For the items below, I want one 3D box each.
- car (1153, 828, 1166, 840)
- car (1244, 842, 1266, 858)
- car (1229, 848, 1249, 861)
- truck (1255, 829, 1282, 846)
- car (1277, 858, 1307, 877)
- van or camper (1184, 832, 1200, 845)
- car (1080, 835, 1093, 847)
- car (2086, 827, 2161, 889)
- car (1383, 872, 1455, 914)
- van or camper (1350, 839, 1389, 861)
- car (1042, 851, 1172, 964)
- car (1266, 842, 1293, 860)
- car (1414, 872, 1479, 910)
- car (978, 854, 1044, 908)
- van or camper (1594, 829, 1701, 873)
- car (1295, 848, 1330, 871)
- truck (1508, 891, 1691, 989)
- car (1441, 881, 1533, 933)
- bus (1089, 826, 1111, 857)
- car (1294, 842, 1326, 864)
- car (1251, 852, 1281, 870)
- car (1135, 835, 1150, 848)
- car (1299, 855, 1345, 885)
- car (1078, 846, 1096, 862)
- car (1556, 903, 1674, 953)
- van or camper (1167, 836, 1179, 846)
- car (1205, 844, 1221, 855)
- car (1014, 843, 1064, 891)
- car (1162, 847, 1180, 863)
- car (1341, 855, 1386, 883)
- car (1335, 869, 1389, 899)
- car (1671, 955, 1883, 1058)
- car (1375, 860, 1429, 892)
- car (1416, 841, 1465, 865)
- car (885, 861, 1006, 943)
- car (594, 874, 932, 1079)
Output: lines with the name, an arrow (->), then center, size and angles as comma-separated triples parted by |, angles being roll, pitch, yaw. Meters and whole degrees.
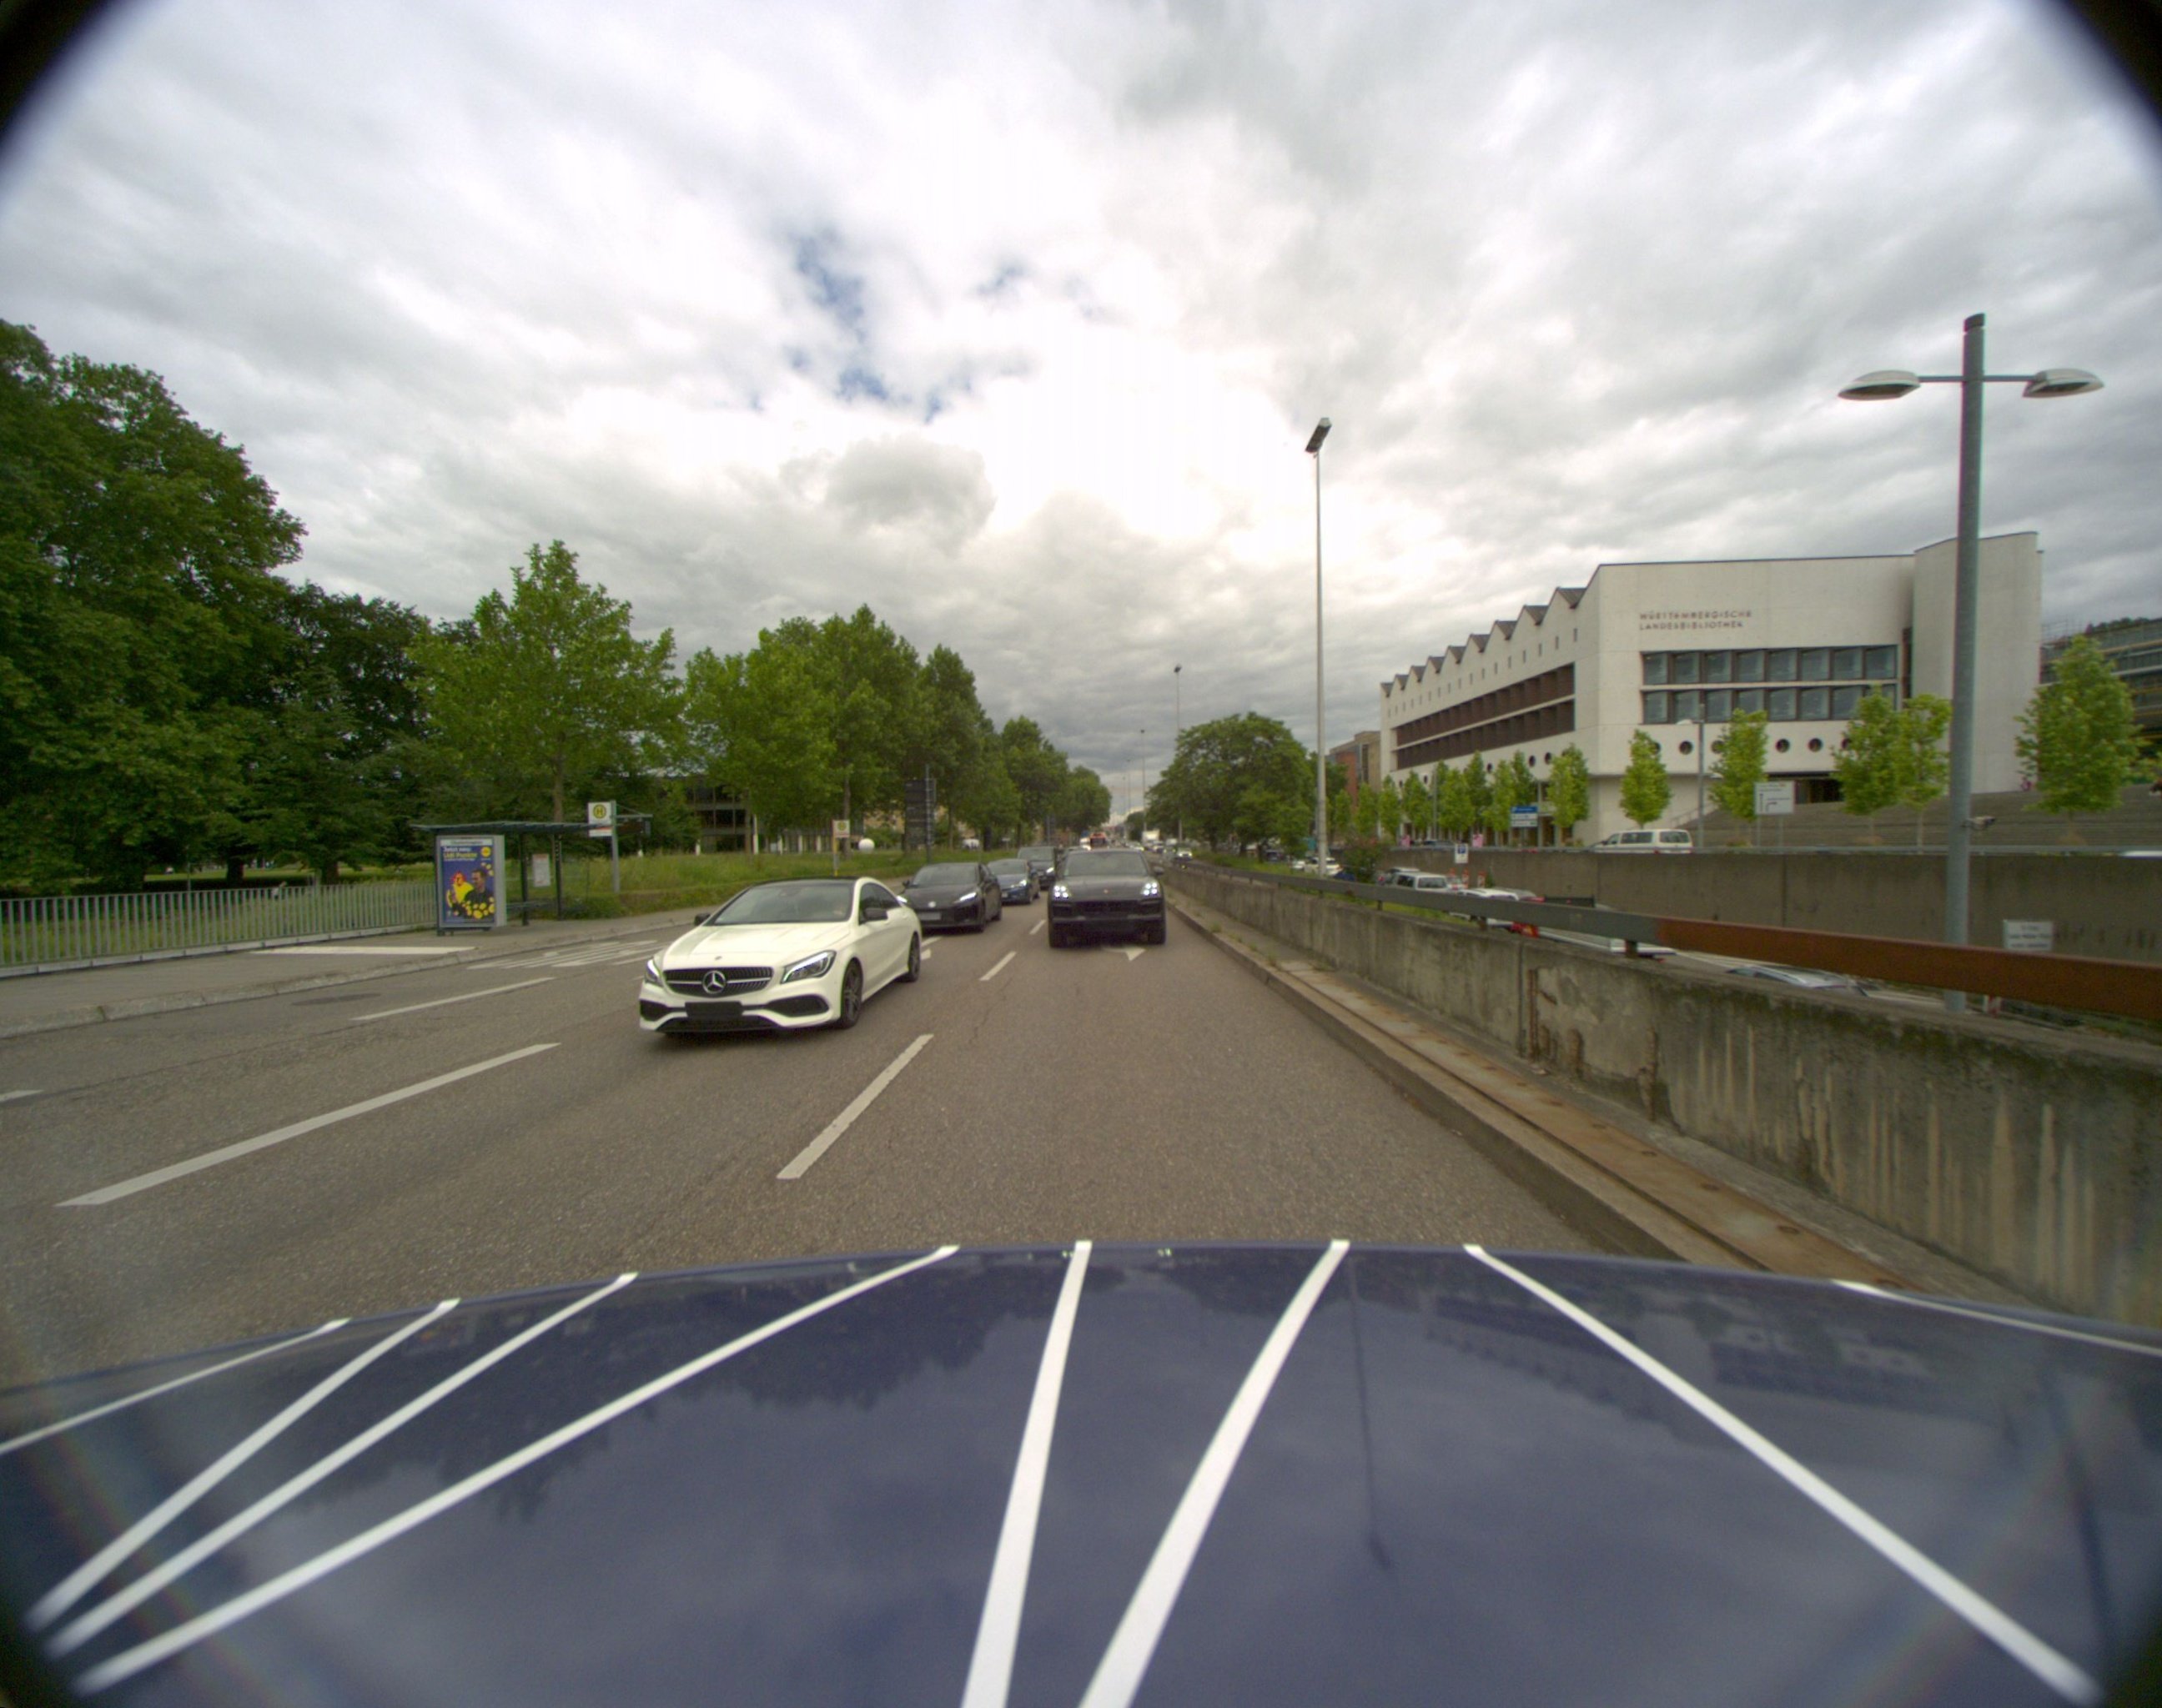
car -> 14.122, -3.607, 137.058 | 1.997, 2.002, 4.002 | -3, 1, 10
car -> 22.849, -0.511, 99.796 | 1.998, 2.002, 4.000 | 1, 0, 1
car -> 18.377, 0.052, 88.452 | 1.674, 1.477, 3.362 | -2, 0, 1
truck -> 26.383, -2.318, 107.249 | 2.002, 2.145, 5.617 | -2, 0, -5
car -> 18.155, 1.163, 65.507 | 1.674, 1.477, 3.361 | -1, 1, 1
van or camper -> 18.193, -2.540, 124.737 | 2.036, 2.002, 4.000 | -2, 0, 1
car -> 0.907, -2.295, 135.469 | 1.999, 2.002, 3.998 | -3, 1, -3
car -> 27.917, 0.073, 18.349 | 1.723, 1.565, 4.271 | -2, 0, 3
car -> 18.100, 2.024, 40.887 | 1.998, 2.002, 4.333 | 1, 0, 1
van or camper -> 28.154, -0.390, 74.323 | 1.999, 2.002, 4.557 | -2, 0, -1
car -> 0.459, 0.829, 13.995 | 1.937, 1.668, 4.680 | -2, 0, 1
car -> 22.558, -0.353, 86.418 | 1.998, 2.002, 4.000 | 1, 0, 1
car -> 21.783, 2.155, 45.484 | 1.998, 2.002, 4.000 | 1, 0, 1
car -> -2.207, 0.801, 24.846 | 1.573, 1.528, 4.001 | -2, 1, 3
van or camper -> 28.209, -0.137, 38.051 | 1.998, 2.002, 4.557 | -2, 0, 1
car -> 22.288, 0.515, 73.387 | 1.998, 2.002, 4.655 | -2, 0, 1
truck -> 17.616, 2.787, 26.342 | 2.324, 2.675, 5.979 | -2, 0, 2
car -> 18.040, 2.284, 34.003 | 1.998, 2.002, 4.000 | 1, 0, 1
bus -> 2.742, -1.871, 112.849 | 3.043, 4.327, 8.749 | -2, 1, 0
car -> 22.243, -0.121, 73.943 | 1.998, 2.002, 4.000 | 1, 0, 1
car -> 18.062, 0.683, 74.215 | 1.998, 1.650, 4.000 | -2, 0, 1
car -> 9.363, -1.899, 116.409 | 1.998, 2.002, 4.000 | -1, 0, 1
car -> 18.371, 1.192, 58.081 | 1.998, 2.119, 4.852 | 1, 0, 1
car -> 0.597, 0.024, 70.422 | 1.565, 1.409, 3.620 | -2, 0, 2
car -> 21.561, 2.951, 30.923 | 1.998, 1.543, 4.000 | -3, 1, 1
van or camper -> 19.080, -2.700, 158.100 | 2.036, 2.002, 4.000 | -2, 0, 1
car -> 18.472, -0.627, 106.766 | 1.674, 1.477, 3.362 | -2, 0, 1
car -> -1.734, 0.501, 32.540 | 1.723, 1.851, 4.430 | -2, 1, 2
car -> 11.964, 0.121, 101.548 | 1.998, 2.002, 3.999 | 0, 2, 2
car -> 21.673, 1.134, 58.533 | 1.998, 2.002, 4.000 | 1, 0, 1
car -> 18.260, 1.932, 49.653 | 1.998, 1.733, 4.282 | 1, 0, 1
car -> 17.488, 3.757, 19.384 | 1.794, 1.805, 3.928 | -2, 0, 1
car -> 21.655, 1.426, 51.429 | 1.998, 2.002, 4.000 | 1, 0, 1
car -> 28.173, -0.071, 59.645 | 1.998, 1.805, 4.001 | -2, 0, 1
car -> -2.880, 0.967, 17.063 | 1.829, 1.515, 4.120 | -2, 0, 1
car -> -2.986, 1.044, 8.341 | 1.723, 1.415, 4.505 | -2, 1, 1
